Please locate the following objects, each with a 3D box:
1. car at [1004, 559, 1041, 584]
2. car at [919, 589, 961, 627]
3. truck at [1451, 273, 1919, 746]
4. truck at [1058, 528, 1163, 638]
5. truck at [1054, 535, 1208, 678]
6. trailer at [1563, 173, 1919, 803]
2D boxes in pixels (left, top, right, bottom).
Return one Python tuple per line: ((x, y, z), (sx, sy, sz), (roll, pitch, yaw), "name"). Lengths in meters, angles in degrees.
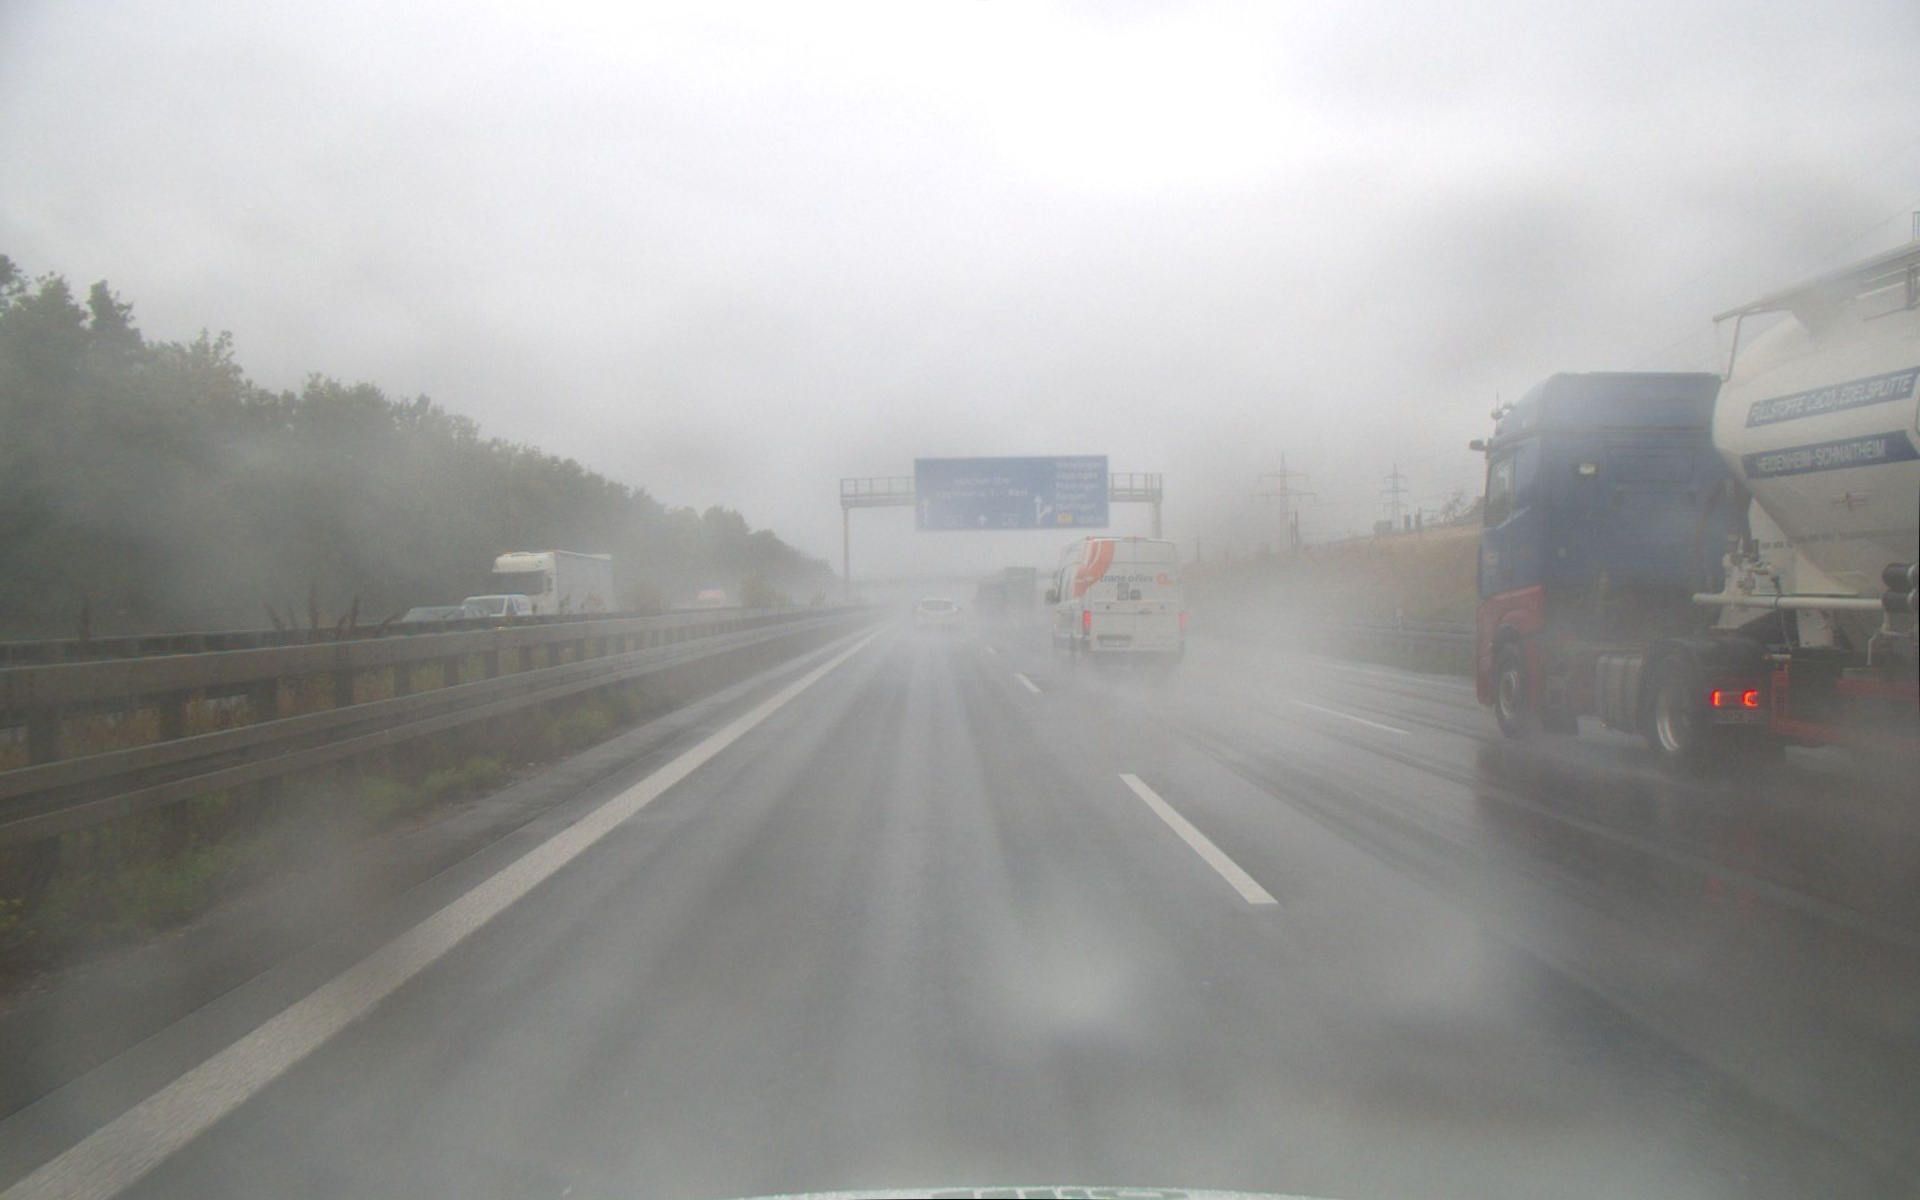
((5.189, -2.390, 138.089), (2.731, 2.049, 4.992), (1, 1, -1), "car")
((-0.783, 0.299, 63.537), (1.573, 1.361, 3.848), (1, 1, -1), "car")
((7.056, -0.810, 16.848), (2.446, 4.053, 5.074), (1, 1, -2), "truck")
((6.925, -0.697, 78.960), (2.978, 4.668, 16.344), (1, 0, -2), "truck")
((3.207, 0.076, 32.284), (2.370, 2.536, 5.560), (1, 1, 0), "truck")
((7.237, -0.697, 10.534), (2.447, 3.950, 11.064), (1, 1, -2), "trailer")
